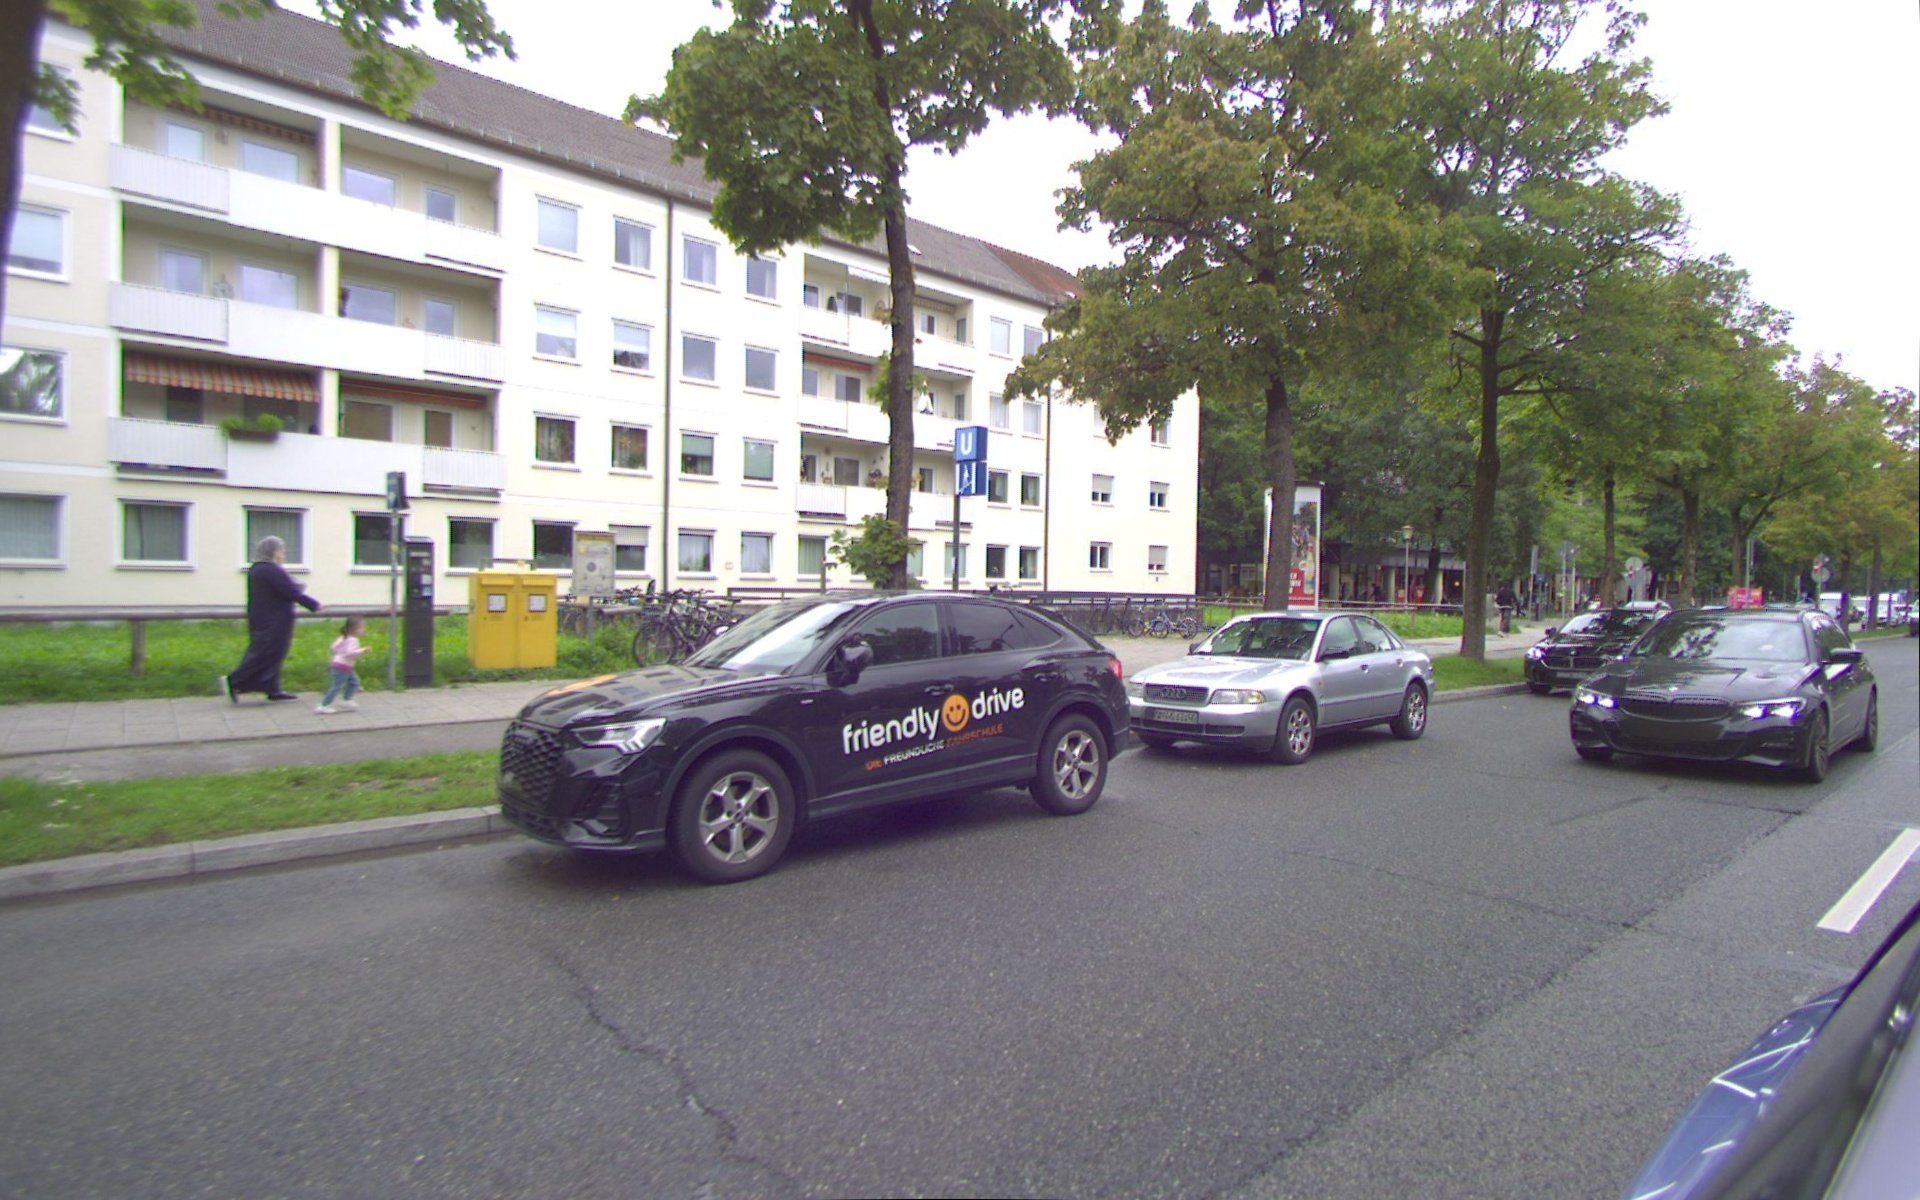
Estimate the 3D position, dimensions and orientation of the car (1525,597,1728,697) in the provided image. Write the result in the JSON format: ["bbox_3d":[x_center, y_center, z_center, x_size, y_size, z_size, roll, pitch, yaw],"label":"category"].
[{"bbox_3d":[11.335,0.709,17.123,4.101,1.484,1.754,0,0,-40],"label":"car"}]

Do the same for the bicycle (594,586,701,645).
[{"bbox_3d":[-5.747,0.283,18.708,1.850,1.041,0.432,1,1,-40],"label":"bicycle"}]

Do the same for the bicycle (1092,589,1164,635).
[{"bbox_3d":[4.107,0.275,24.855,0.425,1.041,1.880,0,2,-43],"label":"bicycle"}]

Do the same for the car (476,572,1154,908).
[{"bbox_3d":[-0.721,0.655,6.714,4.200,1.552,1.720,0,-1,-41],"label":"car"}]

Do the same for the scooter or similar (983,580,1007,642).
[{"bbox_3d":[0.723,0.204,20.924,0.352,1.215,1.388,1,2,7],"label":"scooter or similar"}]

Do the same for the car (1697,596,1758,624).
[{"bbox_3d":[45.637,0.575,60.165,4.519,1.550,1.826,0,2,-39],"label":"car"}]

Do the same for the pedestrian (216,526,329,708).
[{"bbox_3d":[-6.817,0.145,10.032,0.820,1.702,0.840,0,1,-41],"label":"pedestrian"}]

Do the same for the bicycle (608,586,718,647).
[{"bbox_3d":[-5.284,0.290,18.092,1.850,1.041,0.432,1,1,-40],"label":"bicycle"}]

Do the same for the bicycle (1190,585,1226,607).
[{"bbox_3d":[11.688,-0.187,47.719,0.448,0.983,1.693,1,1,-43],"label":"bicycle"}]

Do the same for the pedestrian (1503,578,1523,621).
[{"bbox_3d":[22.575,-0.026,41.346,0.633,1.752,0.597,0,0,21],"label":"pedestrian"}]

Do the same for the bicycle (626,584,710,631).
[{"bbox_3d":[-6.816,0.168,23.671,1.850,1.041,0.432,1,1,-40],"label":"bicycle"}]

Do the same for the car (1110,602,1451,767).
[{"bbox_3d":[3.517,0.725,10.658,4.173,1.403,1.637,0,0,-44],"label":"car"}]

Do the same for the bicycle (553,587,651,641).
[{"bbox_3d":[-7.339,0.282,20.810,1.850,1.041,0.432,1,1,-40],"label":"bicycle"}]

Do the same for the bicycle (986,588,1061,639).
[{"bbox_3d":[1.384,0.286,22.517,0.425,1.041,1.880,0,2,-43],"label":"bicycle"}]

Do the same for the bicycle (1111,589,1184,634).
[{"bbox_3d":[4.695,0.271,25.476,1.878,1.041,0.426,3,2,45],"label":"bicycle"}]

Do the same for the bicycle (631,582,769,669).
[{"bbox_3d":[-3.645,0.345,14.283,1.850,1.147,0.432,1,1,-40],"label":"bicycle"}]

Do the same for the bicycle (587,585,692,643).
[{"bbox_3d":[-6.026,0.265,19.111,1.850,1.041,0.432,1,1,-40],"label":"bicycle"}]

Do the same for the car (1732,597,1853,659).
[{"bbox_3d":[21.582,0.688,26.195,4.041,1.484,1.685,0,0,-40],"label":"car"}]

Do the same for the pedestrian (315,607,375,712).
[{"bbox_3d":[-5.930,0.560,9.752,0.427,0.961,0.408,0,1,-41],"label":"pedestrian"}]

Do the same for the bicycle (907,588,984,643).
[{"bbox_3d":[-0.329,0.301,20.870,0.425,1.041,1.880,0,2,-43],"label":"bicycle"}]

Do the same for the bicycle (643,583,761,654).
[{"bbox_3d":[-4.235,0.293,16.702,1.850,1.115,0.432,1,1,-40],"label":"bicycle"}]

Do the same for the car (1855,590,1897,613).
[{"bbox_3d":[88.746,0.114,98.047,5.754,2.130,2.267,0,1,-41],"label":"car"}]

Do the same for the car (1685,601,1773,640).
[{"bbox_3d":[29.650,0.752,38.974,4.273,1.397,1.726,0,0,-39],"label":"car"}]

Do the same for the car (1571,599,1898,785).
[{"bbox_3d":[7.743,0.720,9.952,4.385,1.431,1.761,0,0,-42],"label":"car"}]

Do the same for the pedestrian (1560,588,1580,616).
[{"bbox_3d":[35.486,0.088,58.887,0.738,1.614,0.660,1,0,-22],"label":"pedestrian"}]

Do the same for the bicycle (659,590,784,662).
[{"bbox_3d":[-3.648,0.386,15.585,1.850,1.041,0.432,1,1,-40],"label":"bicycle"}]

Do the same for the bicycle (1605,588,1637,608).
[{"bbox_3d":[57.290,-0.190,87.765,2.299,1.643,0.641,2,1,34],"label":"bicycle"}]

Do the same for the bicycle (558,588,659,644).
[{"bbox_3d":[-6.910,0.303,19.955,1.850,1.041,0.432,1,1,-40],"label":"bicycle"}]

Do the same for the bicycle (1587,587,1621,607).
[{"bbox_3d":[53.755,-0.268,84.474,0.638,1.643,2.312,1,1,-40],"label":"bicycle"}]

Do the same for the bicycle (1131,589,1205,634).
[{"bbox_3d":[5.258,0.284,25.657,1.877,1.041,0.426,3,2,42],"label":"bicycle"}]

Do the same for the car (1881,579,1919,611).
[{"bbox_3d":[82.037,-0.411,88.147,5.901,2.691,1.976,0,-1,-41],"label":"car"}]

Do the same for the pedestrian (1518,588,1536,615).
[{"bbox_3d":[34.609,0.076,61.782,0.621,1.561,0.660,2,2,6],"label":"pedestrian"}]

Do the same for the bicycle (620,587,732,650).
[{"bbox_3d":[-4.953,0.308,17.738,1.850,1.041,0.432,1,1,-40],"label":"bicycle"}]

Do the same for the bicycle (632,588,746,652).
[{"bbox_3d":[-4.612,0.326,17.305,1.850,1.041,0.432,1,1,-40],"label":"bicycle"}]

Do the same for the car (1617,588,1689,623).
[{"bbox_3d":[35.200,0.285,51.373,4.121,1.654,1.827,0,2,-39],"label":"car"}]

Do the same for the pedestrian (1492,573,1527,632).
[{"bbox_3d":[16.824,0.064,31.007,0.835,1.771,0.640,1,2,-43],"label":"pedestrian"}]

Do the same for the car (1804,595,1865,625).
[{"bbox_3d":[44.749,0.481,51.750,4.609,1.450,1.731,0,0,-41],"label":"car"}]

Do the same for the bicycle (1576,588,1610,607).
[{"bbox_3d":[52.038,-0.211,83.229,0.638,1.551,2.312,1,1,-40],"label":"bicycle"}]

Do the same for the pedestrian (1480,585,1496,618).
[{"bbox_3d":[25.160,0.069,48.238,0.573,1.594,0.777,0,0,18],"label":"pedestrian"}]

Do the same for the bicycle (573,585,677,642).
[{"bbox_3d":[-6.404,0.255,19.438,1.850,1.041,0.432,1,1,-40],"label":"bicycle"}]

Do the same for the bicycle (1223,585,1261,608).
[{"bbox_3d":[12.932,-0.168,46.439,0.448,0.983,1.693,1,1,-43],"label":"bicycle"}]
